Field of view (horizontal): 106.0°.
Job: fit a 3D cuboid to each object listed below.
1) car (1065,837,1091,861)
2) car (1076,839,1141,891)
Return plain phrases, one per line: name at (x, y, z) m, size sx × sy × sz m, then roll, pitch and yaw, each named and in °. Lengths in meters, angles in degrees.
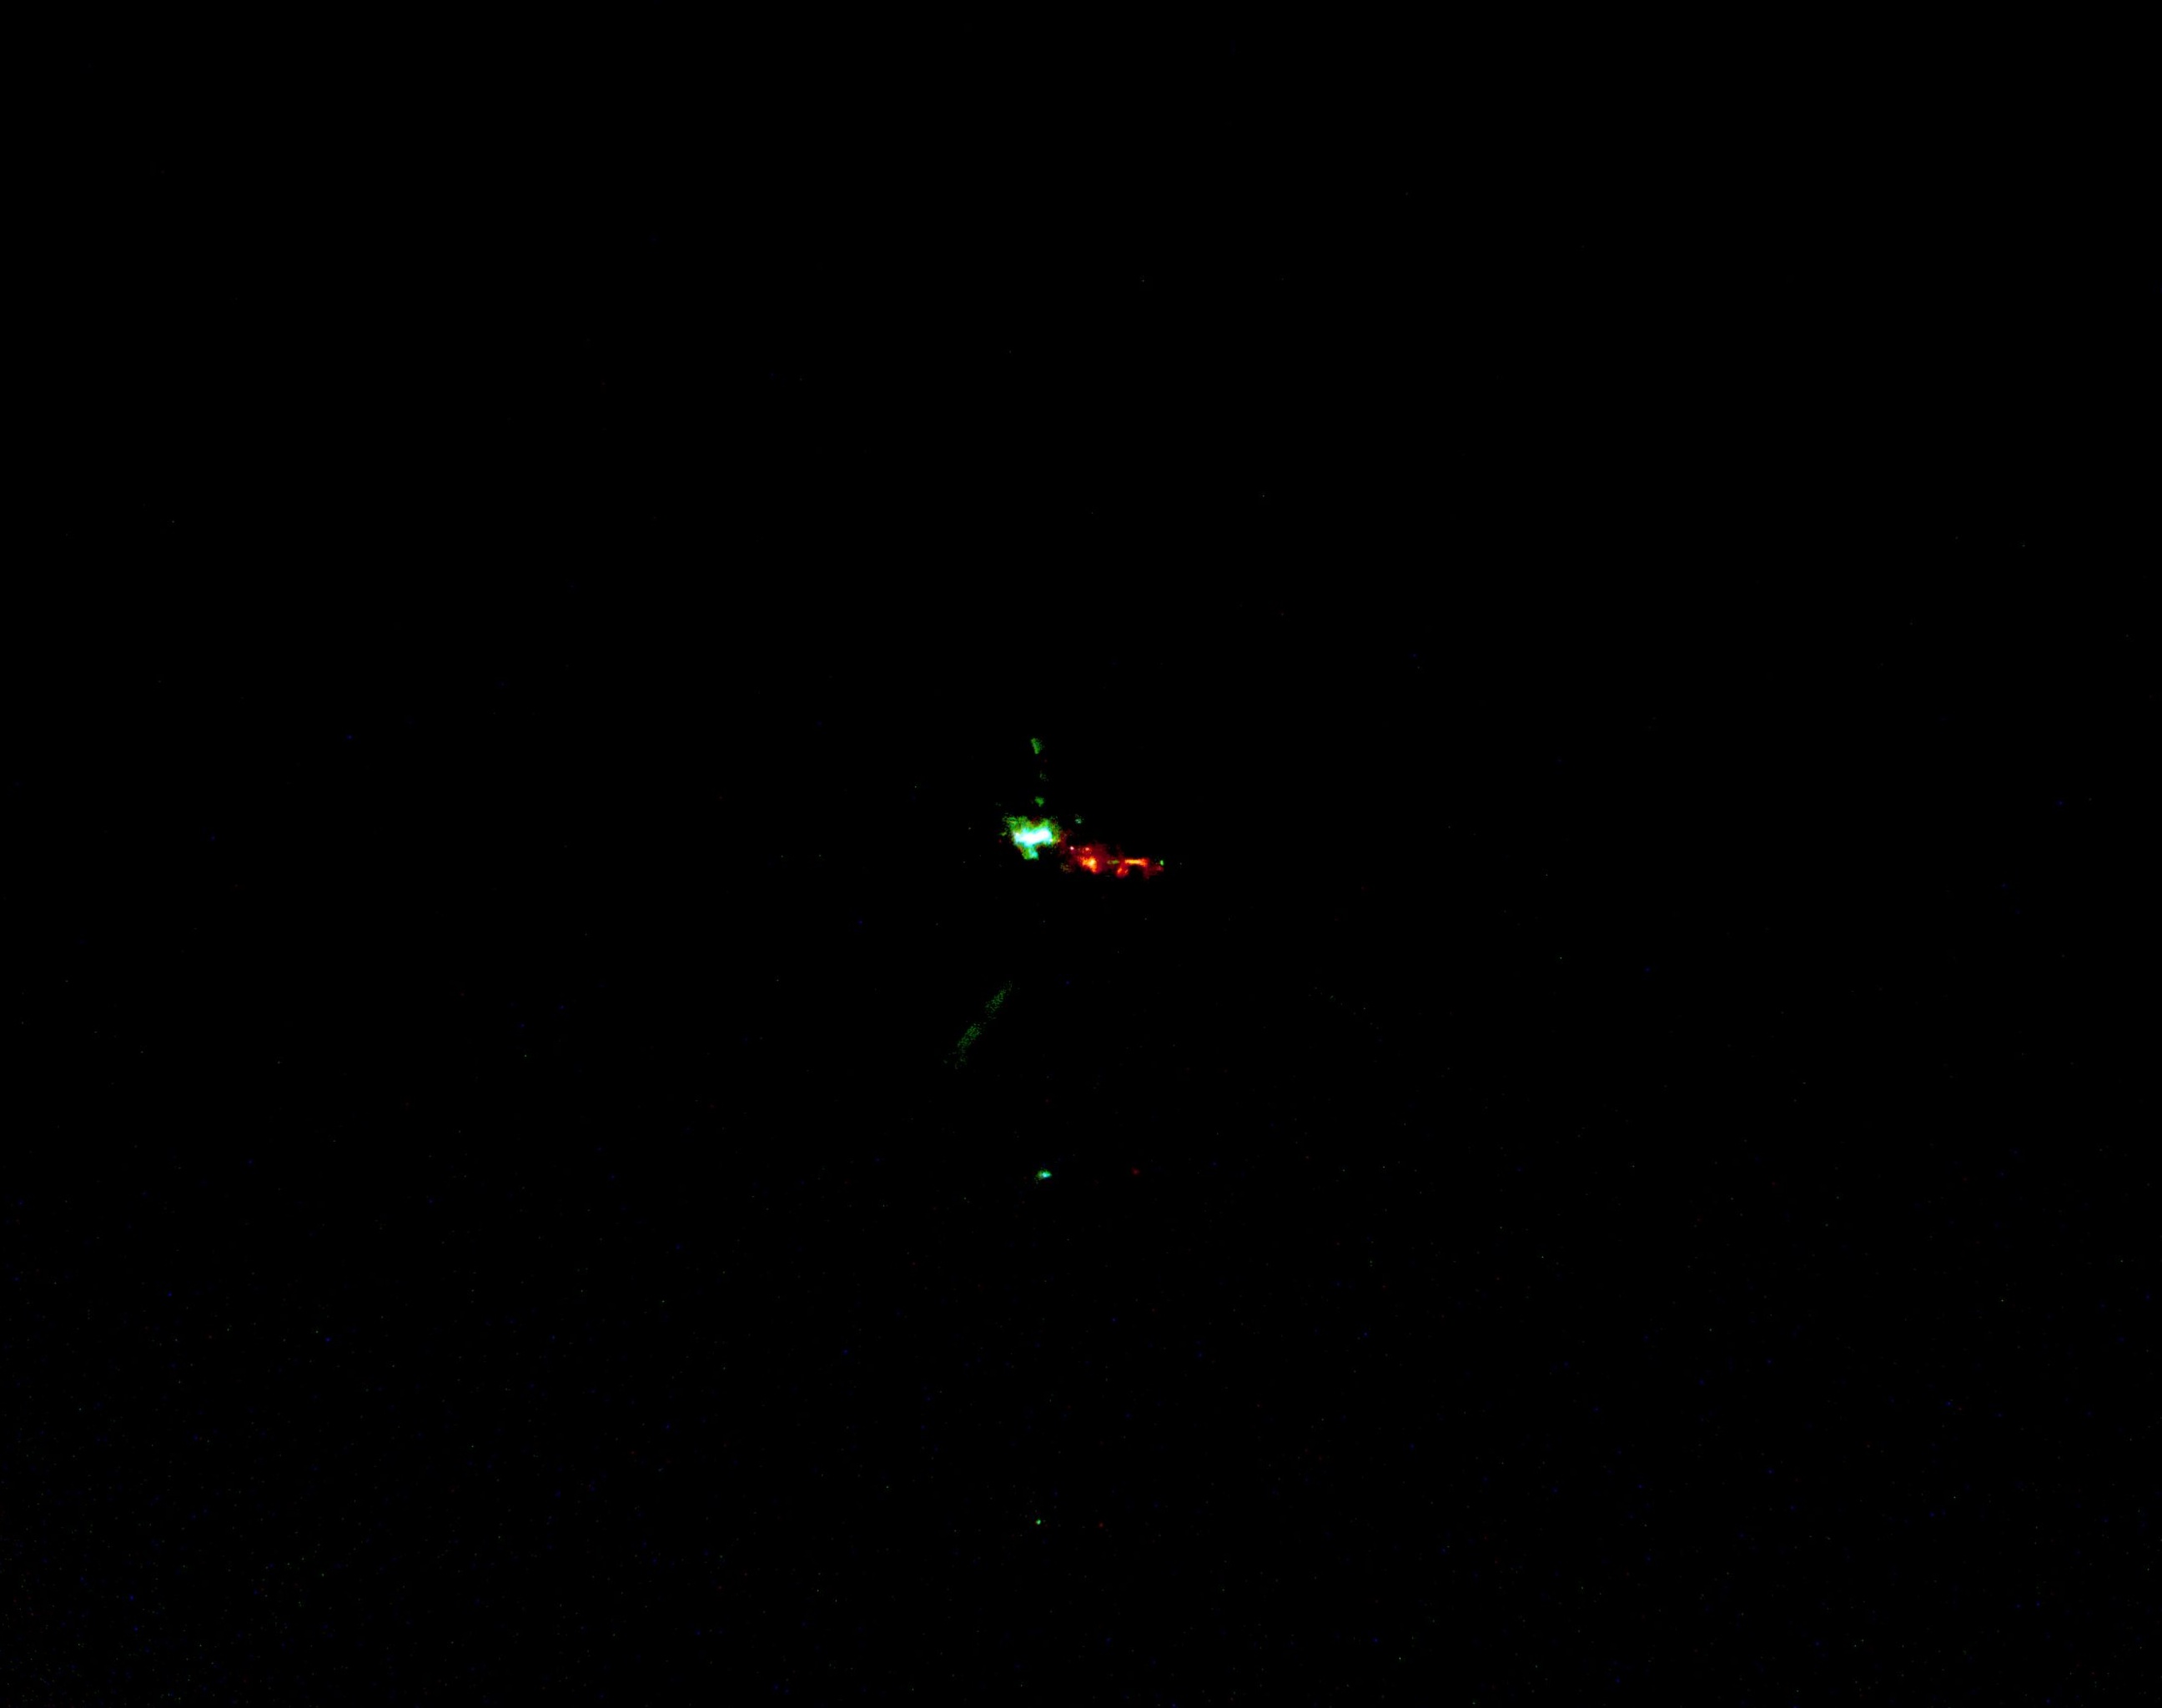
car at (-0.288, -0.467, 71.813) m, size 1.990 × 2.013 × 3.994 m, roll 1°, pitch 1°, yaw -4°
car at (1.078, 0.425, 33.402) m, size 2.449 × 1.958 × 4.912 m, roll -1°, pitch 0°, yaw 1°
